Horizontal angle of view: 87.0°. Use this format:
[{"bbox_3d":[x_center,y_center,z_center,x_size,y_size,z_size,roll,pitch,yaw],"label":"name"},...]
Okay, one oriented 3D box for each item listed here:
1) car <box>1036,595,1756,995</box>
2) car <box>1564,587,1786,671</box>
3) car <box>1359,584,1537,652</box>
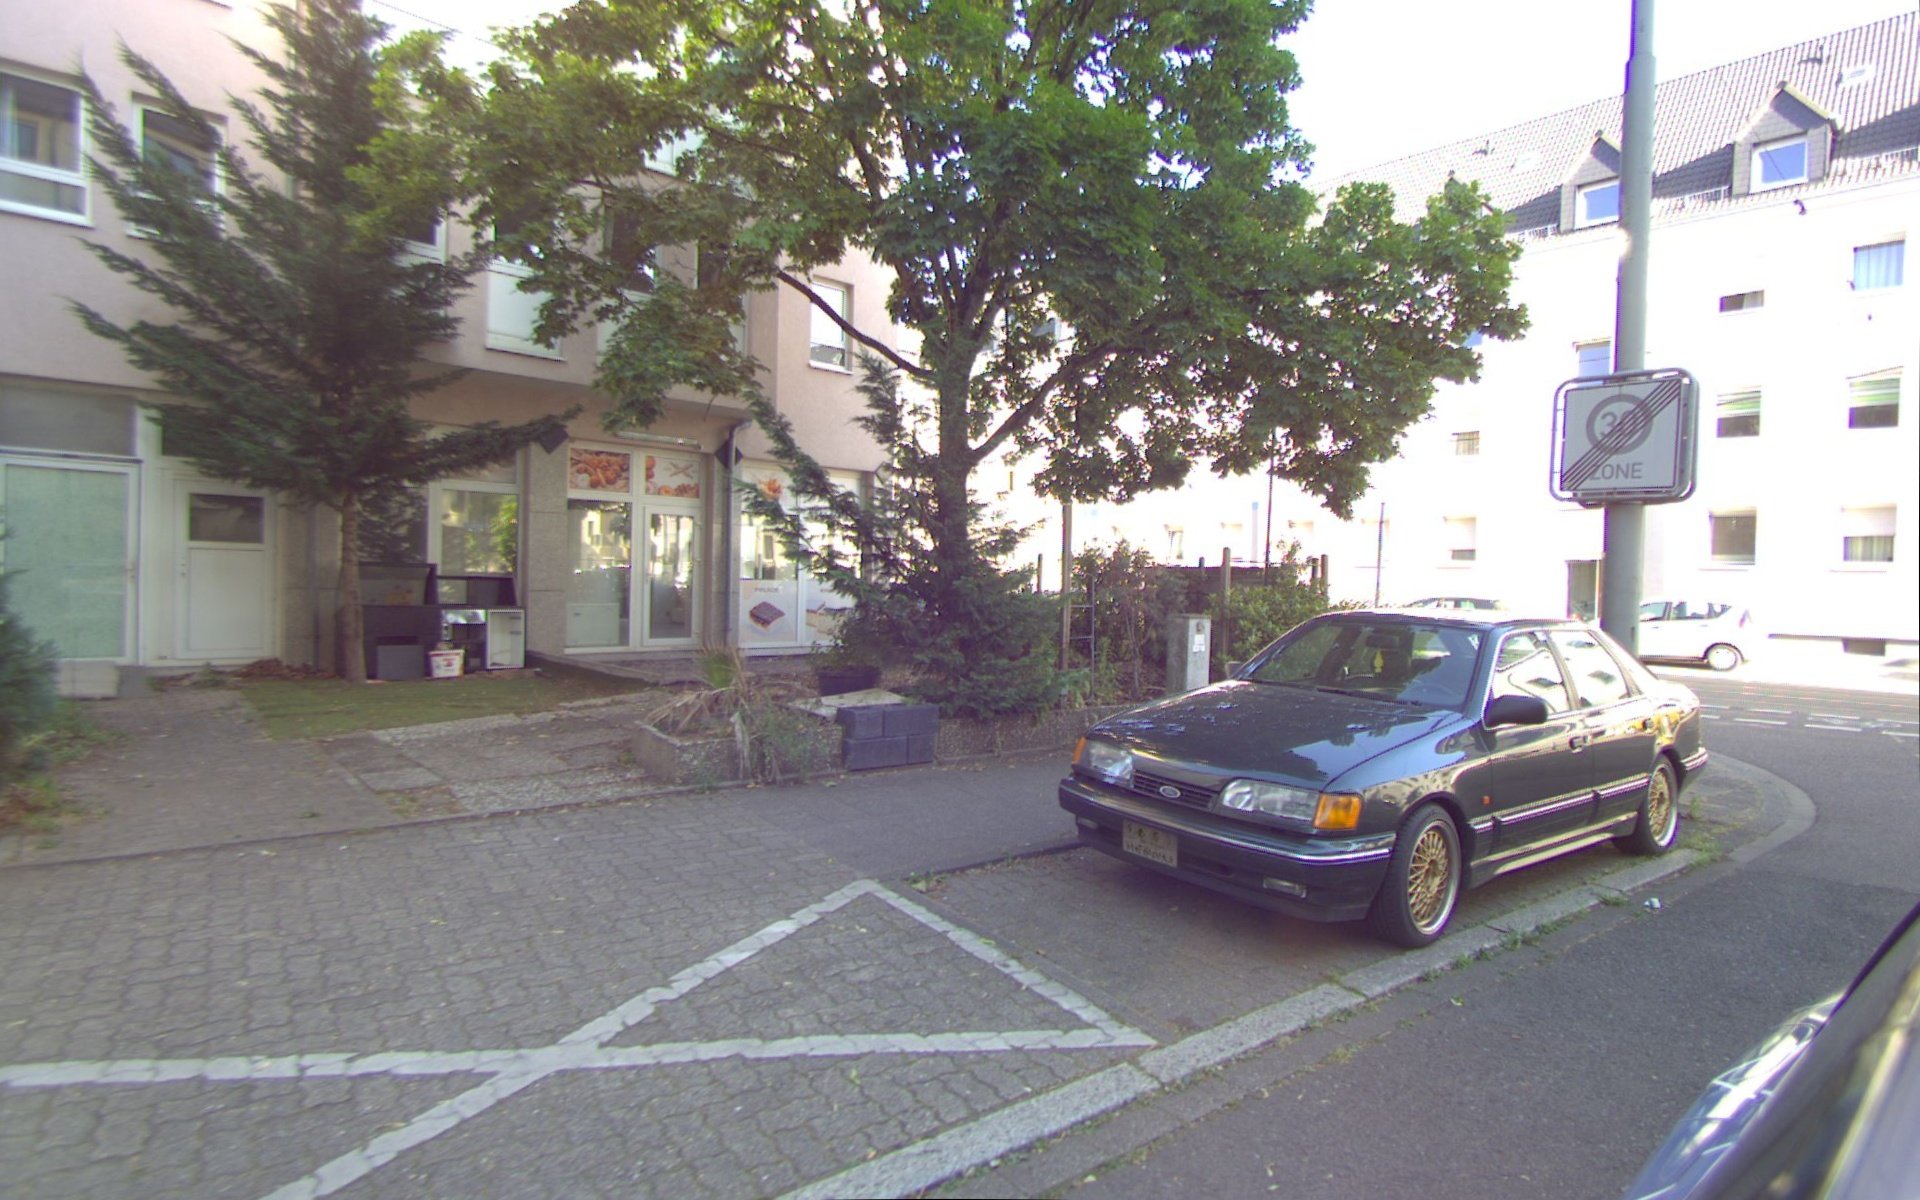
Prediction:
[{"bbox_3d":[2.699,0.711,5.748,4.485,1.405,1.714,0,2,-37],"label":"car"},{"bbox_3d":[16.399,0.580,23.343,1.731,1.589,3.897,-4,5,-42],"label":"car"},{"bbox_3d":[12.949,0.411,27.035,1.570,1.556,4.000,-1,3,-42],"label":"car"}]
